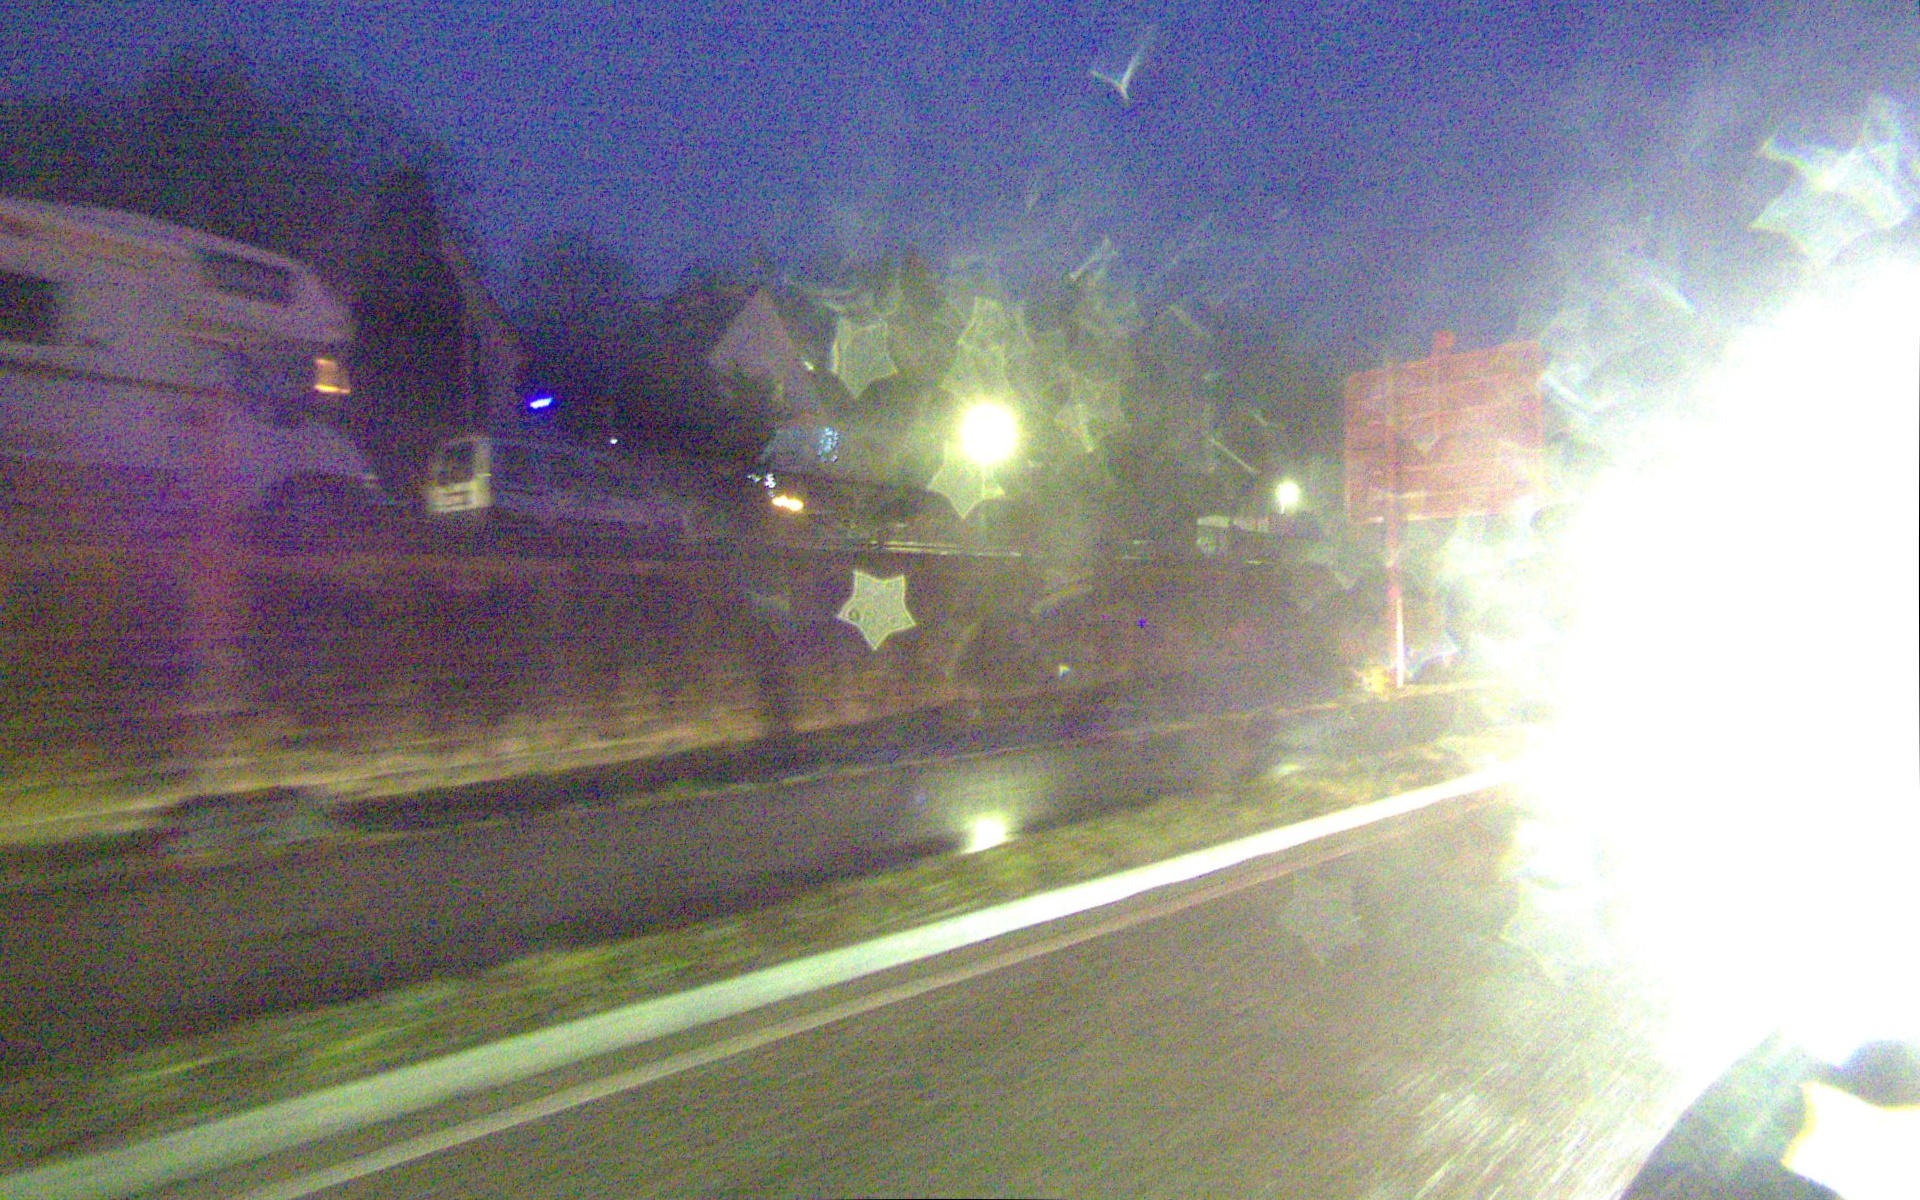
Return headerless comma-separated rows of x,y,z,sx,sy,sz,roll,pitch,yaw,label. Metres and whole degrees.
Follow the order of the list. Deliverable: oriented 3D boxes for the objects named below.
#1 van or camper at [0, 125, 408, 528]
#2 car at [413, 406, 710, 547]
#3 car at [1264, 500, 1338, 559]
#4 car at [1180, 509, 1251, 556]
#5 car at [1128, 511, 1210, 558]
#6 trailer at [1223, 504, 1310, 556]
-8.593,-2.297,8.768,2.567,2.944,6.290,1,1,30,van or camper
-5.926,-1.748,15.524,1.629,1.638,4.087,0,0,32,car
17.367,-3.489,51.330,2.107,2.668,5.382,1,1,35,car
10.255,-2.667,40.485,1.606,1.660,3.953,0,1,33,car
7.631,-2.333,36.676,1.606,1.491,3.953,0,1,33,car
14.262,-3.164,46.826,2.219,2.097,5.649,1,1,35,trailer
